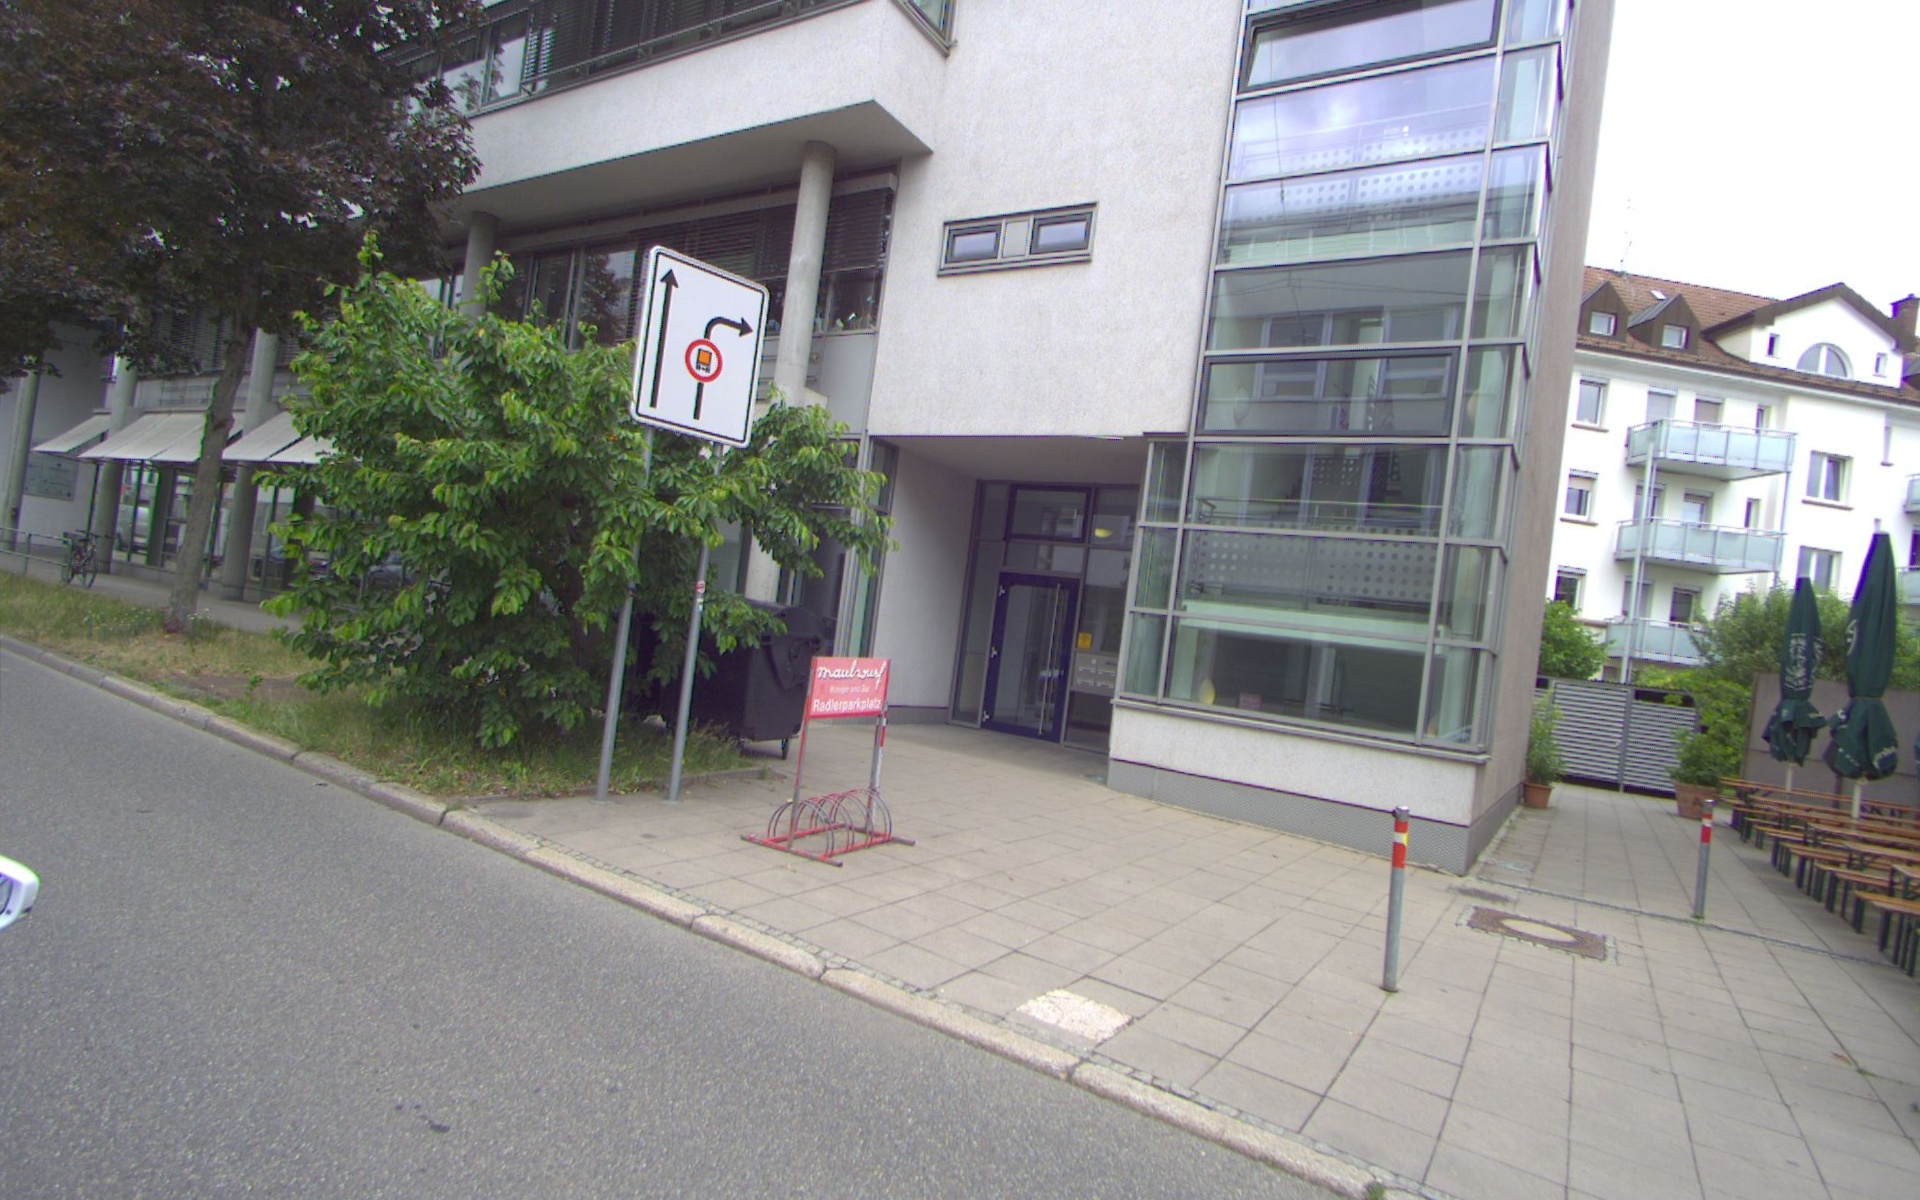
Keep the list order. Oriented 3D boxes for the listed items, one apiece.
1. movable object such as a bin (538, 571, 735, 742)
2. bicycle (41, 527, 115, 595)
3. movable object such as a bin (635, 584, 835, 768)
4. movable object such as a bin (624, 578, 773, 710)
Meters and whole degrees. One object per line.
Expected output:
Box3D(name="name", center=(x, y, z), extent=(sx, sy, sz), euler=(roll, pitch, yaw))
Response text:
Box3D(name="movable object such as a bin", center=(-3.261, 0.554, 10.179), extent=(1.389, 1.484, 1.129), euler=(7, 0, 31))
Box3D(name="bicycle", center=(-16.843, -0.761, 19.193), extent=(1.994, 1.099, 0.361), euler=(7, -2, 31))
Box3D(name="movable object such as a bin", center=(-2.108, 0.689, 9.491), extent=(1.311, 1.484, 1.099), euler=(7, 0, 31))
Box3D(name="movable object such as a bin", center=(-3.357, 0.565, 12.934), extent=(1.311, 1.484, 1.123), euler=(7, 0, 31))
